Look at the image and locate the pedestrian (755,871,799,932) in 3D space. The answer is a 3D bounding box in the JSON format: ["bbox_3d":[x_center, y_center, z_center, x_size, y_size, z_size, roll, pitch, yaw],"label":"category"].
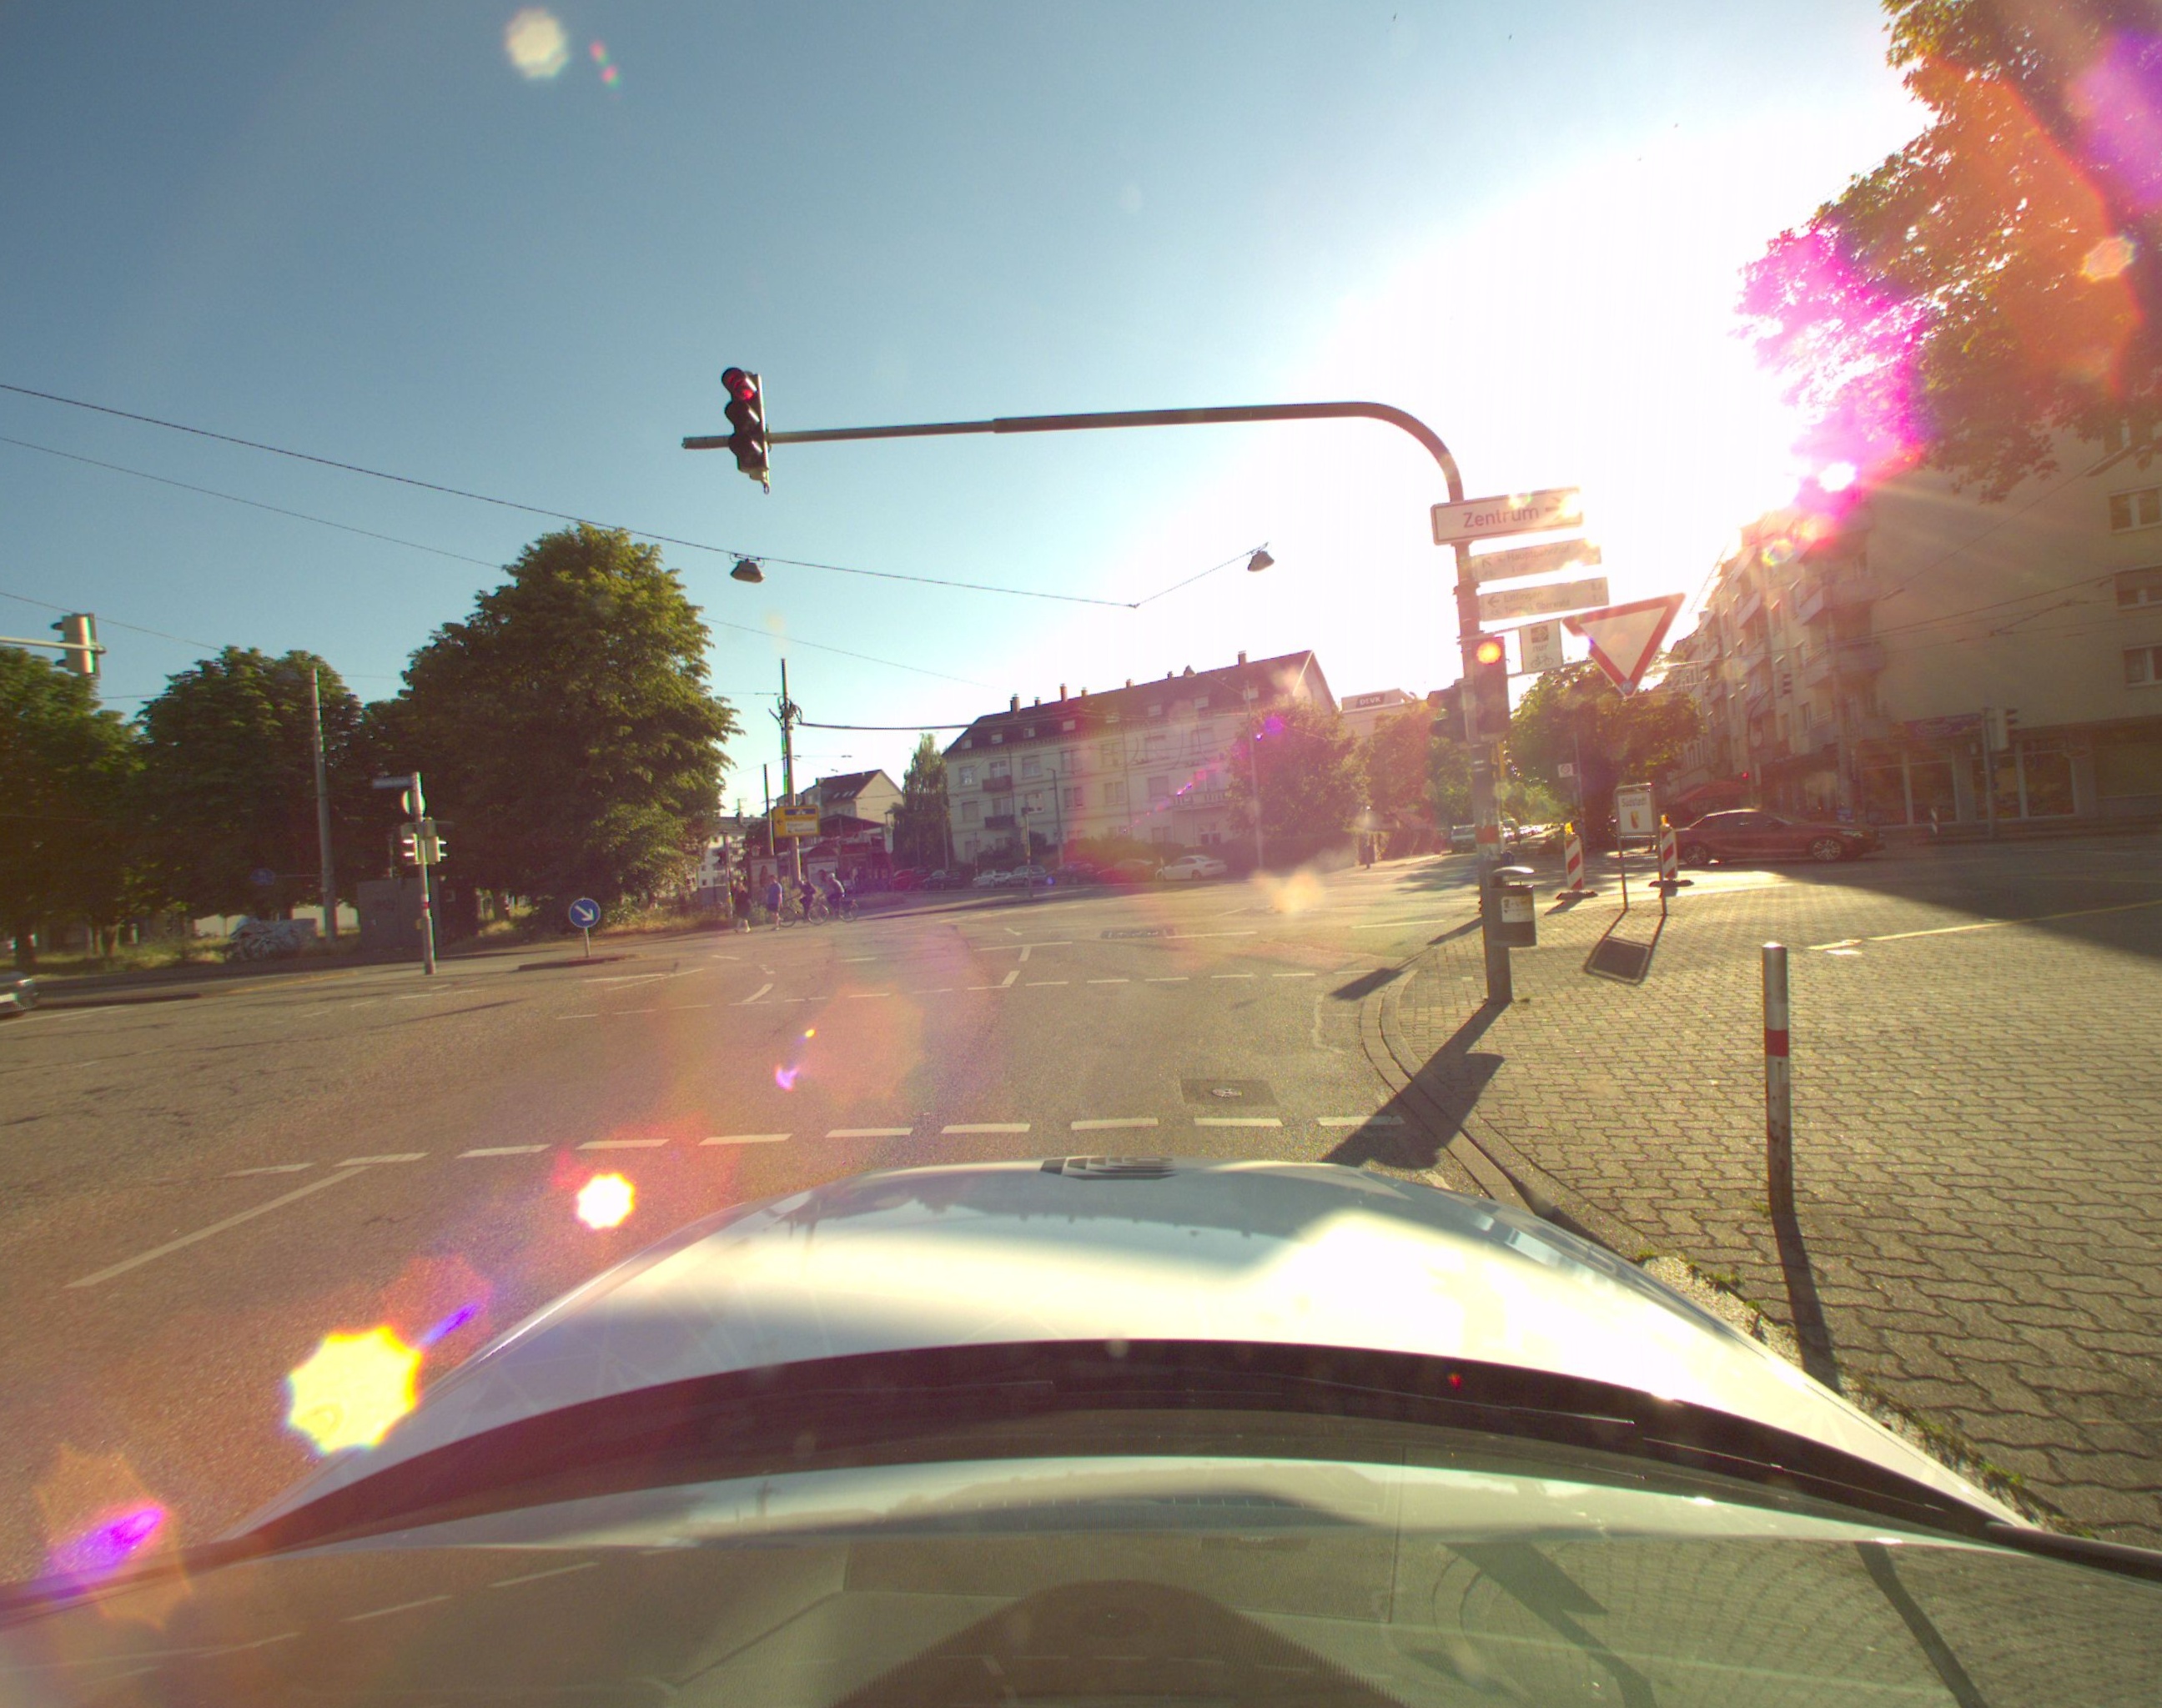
[{"bbox_3d":[-10.190,1.562,27.302,0.908,1.925,1.068,-4,-1,2],"label":"pedestrian"}]

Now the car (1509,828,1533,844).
[{"bbox_3d":[56.645,-2.355,104.845,2.332,1.795,5.344,-5,-1,32],"label":"car"}]

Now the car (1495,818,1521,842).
[{"bbox_3d":[47.945,-2.698,91.345,2.332,2.514,5.343,-5,-1,28],"label":"car"}]

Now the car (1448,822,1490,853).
[{"bbox_3d":[28.387,-1.232,59.445,2.332,2.013,5.343,-5,-1,28],"label":"car"}]

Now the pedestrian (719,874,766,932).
[{"bbox_3d":[-11.027,1.578,26.557,0.908,1.747,1.068,-4,-1,2],"label":"pedestrian"}]

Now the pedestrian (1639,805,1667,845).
[{"bbox_3d":[25.900,-1.314,36.864,0.799,1.750,0.710,-4,-1,-38],"label":"pedestrian"}]

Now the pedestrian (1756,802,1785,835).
[{"bbox_3d":[34.204,-1.760,40.403,0.804,1.544,0.919,-5,-1,25],"label":"pedestrian"}]

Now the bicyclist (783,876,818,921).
[{"bbox_3d":[-10.085,1.589,29.303,1.035,1.532,0.658,-4,-1,-13],"label":"bicyclist"}]

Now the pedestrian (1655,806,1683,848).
[{"bbox_3d":[25.837,-1.188,35.764,0.799,1.750,0.685,-4,-1,-38],"label":"pedestrian"}]

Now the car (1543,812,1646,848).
[{"bbox_3d":[34.252,-1.544,54.546,5.567,1.924,2.377,-5,-2,28],"label":"car"}]

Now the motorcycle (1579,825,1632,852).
[{"bbox_3d":[24.968,-0.717,38.804,1.933,1.109,0.842,-5,-1,26],"label":"motorcycle"}]

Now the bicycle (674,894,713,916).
[{"bbox_3d":[-21.462,2.804,45.120,0.656,1.069,2.030,-1,-1,22],"label":"bicycle"}]

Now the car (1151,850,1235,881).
[{"bbox_3d":[6.271,0.675,46.125,1.941,1.376,4.443,-7,1,-40],"label":"car"}]

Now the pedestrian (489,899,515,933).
[{"bbox_3d":[-34.430,3.677,48.418,0.935,1.872,0.690,-4,-1,14],"label":"pedestrian"}]

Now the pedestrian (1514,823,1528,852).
[{"bbox_3d":[28.492,-1.093,52.778,0.655,1.839,0.687,-4,-1,30],"label":"pedestrian"}]

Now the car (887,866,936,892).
[{"bbox_3d":[-15.204,2.236,72.762,2.067,1.961,5.091,-7,1,-39],"label":"car"}]

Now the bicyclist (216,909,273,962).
[{"bbox_3d":[-28.253,2.744,27.520,1.038,1.629,0.711,-4,-1,-8],"label":"bicyclist"}]

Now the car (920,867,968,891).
[{"bbox_3d":[-11.407,2.078,67.628,1.855,1.667,4.319,-7,1,-39],"label":"car"}]

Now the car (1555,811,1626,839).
[{"bbox_3d":[44.681,-2.511,71.619,5.042,1.924,2.377,-5,-2,28],"label":"car"}]

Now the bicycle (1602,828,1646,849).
[{"bbox_3d":[26.869,-0.771,40.322,1.707,0.932,0.565,-5,-1,31],"label":"bicycle"}]

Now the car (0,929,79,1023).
[{"bbox_3d":[-21.393,2.372,14.630,4.415,1.567,2.057,-4,0,5],"label":"car"}]

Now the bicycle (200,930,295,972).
[{"bbox_3d":[-28.138,3.254,27.524,2.194,1.142,0.698,-4,-1,-10],"label":"bicycle"}]

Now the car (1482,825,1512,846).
[{"bbox_3d":[39.716,-1.793,77.670,2.332,1.795,5.343,-5,-1,28],"label":"car"}]

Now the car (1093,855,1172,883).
[{"bbox_3d":[3.124,0.945,50.195,1.999,1.376,4.647,-7,1,-44],"label":"car"}]

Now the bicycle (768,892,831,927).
[{"bbox_3d":[-10.102,1.980,29.314,2.015,1.069,0.660,-4,-1,-13],"label":"bicycle"}]

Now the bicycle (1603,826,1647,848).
[{"bbox_3d":[26.470,-0.818,39.658,1.707,0.932,0.565,-5,-1,31],"label":"bicycle"}]

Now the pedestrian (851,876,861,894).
[{"bbox_3d":[-18.537,2.554,67.026,0.569,1.500,0.672,-4,-1,-27],"label":"pedestrian"}]

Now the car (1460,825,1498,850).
[{"bbox_3d":[31.691,-1.335,64.751,2.332,1.795,5.343,-5,-1,28],"label":"car"}]

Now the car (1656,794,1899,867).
[{"bbox_3d":[17.820,-0.543,21.084,1.906,1.564,4.349,-2,-1,-31],"label":"car"}]

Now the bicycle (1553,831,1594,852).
[{"bbox_3d":[24.920,-0.639,41.198,1.707,0.932,0.676,-5,-1,31],"label":"bicycle"}]

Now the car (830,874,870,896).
[{"bbox_3d":[-23.845,3.199,83.947,2.067,1.961,5.091,-7,1,-39],"label":"car"}]

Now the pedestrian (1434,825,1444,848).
[{"bbox_3d":[28.091,-1.352,63.970,0.573,1.730,0.612,-4,-1,26],"label":"pedestrian"}]

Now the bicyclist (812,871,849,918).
[{"bbox_3d":[-8.744,1.403,28.450,1.033,1.532,0.696,-4,-1,-7],"label":"bicyclist"}]

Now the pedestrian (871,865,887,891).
[{"bbox_3d":[-16.407,1.922,66.022,0.928,2.013,0.760,-4,-1,-34],"label":"pedestrian"}]

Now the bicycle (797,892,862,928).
[{"bbox_3d":[-8.761,1.941,28.456,2.010,1.069,0.662,-4,-1,-6],"label":"bicycle"}]

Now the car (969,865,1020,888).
[{"bbox_3d":[-6.587,1.732,61.676,1.855,1.447,3.912,-7,1,-39],"label":"car"}]

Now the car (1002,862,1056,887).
[{"bbox_3d":[-3.744,1.461,58.115,1.998,1.447,3.676,-7,1,-39],"label":"car"}]

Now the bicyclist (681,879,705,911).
[{"bbox_3d":[-21.509,2.276,45.152,0.662,1.652,0.891,-4,-1,21],"label":"bicyclist"}]

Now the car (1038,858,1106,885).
[{"bbox_3d":[-0.669,1.200,54.796,1.998,1.447,4.650,-7,1,-39],"label":"car"}]
